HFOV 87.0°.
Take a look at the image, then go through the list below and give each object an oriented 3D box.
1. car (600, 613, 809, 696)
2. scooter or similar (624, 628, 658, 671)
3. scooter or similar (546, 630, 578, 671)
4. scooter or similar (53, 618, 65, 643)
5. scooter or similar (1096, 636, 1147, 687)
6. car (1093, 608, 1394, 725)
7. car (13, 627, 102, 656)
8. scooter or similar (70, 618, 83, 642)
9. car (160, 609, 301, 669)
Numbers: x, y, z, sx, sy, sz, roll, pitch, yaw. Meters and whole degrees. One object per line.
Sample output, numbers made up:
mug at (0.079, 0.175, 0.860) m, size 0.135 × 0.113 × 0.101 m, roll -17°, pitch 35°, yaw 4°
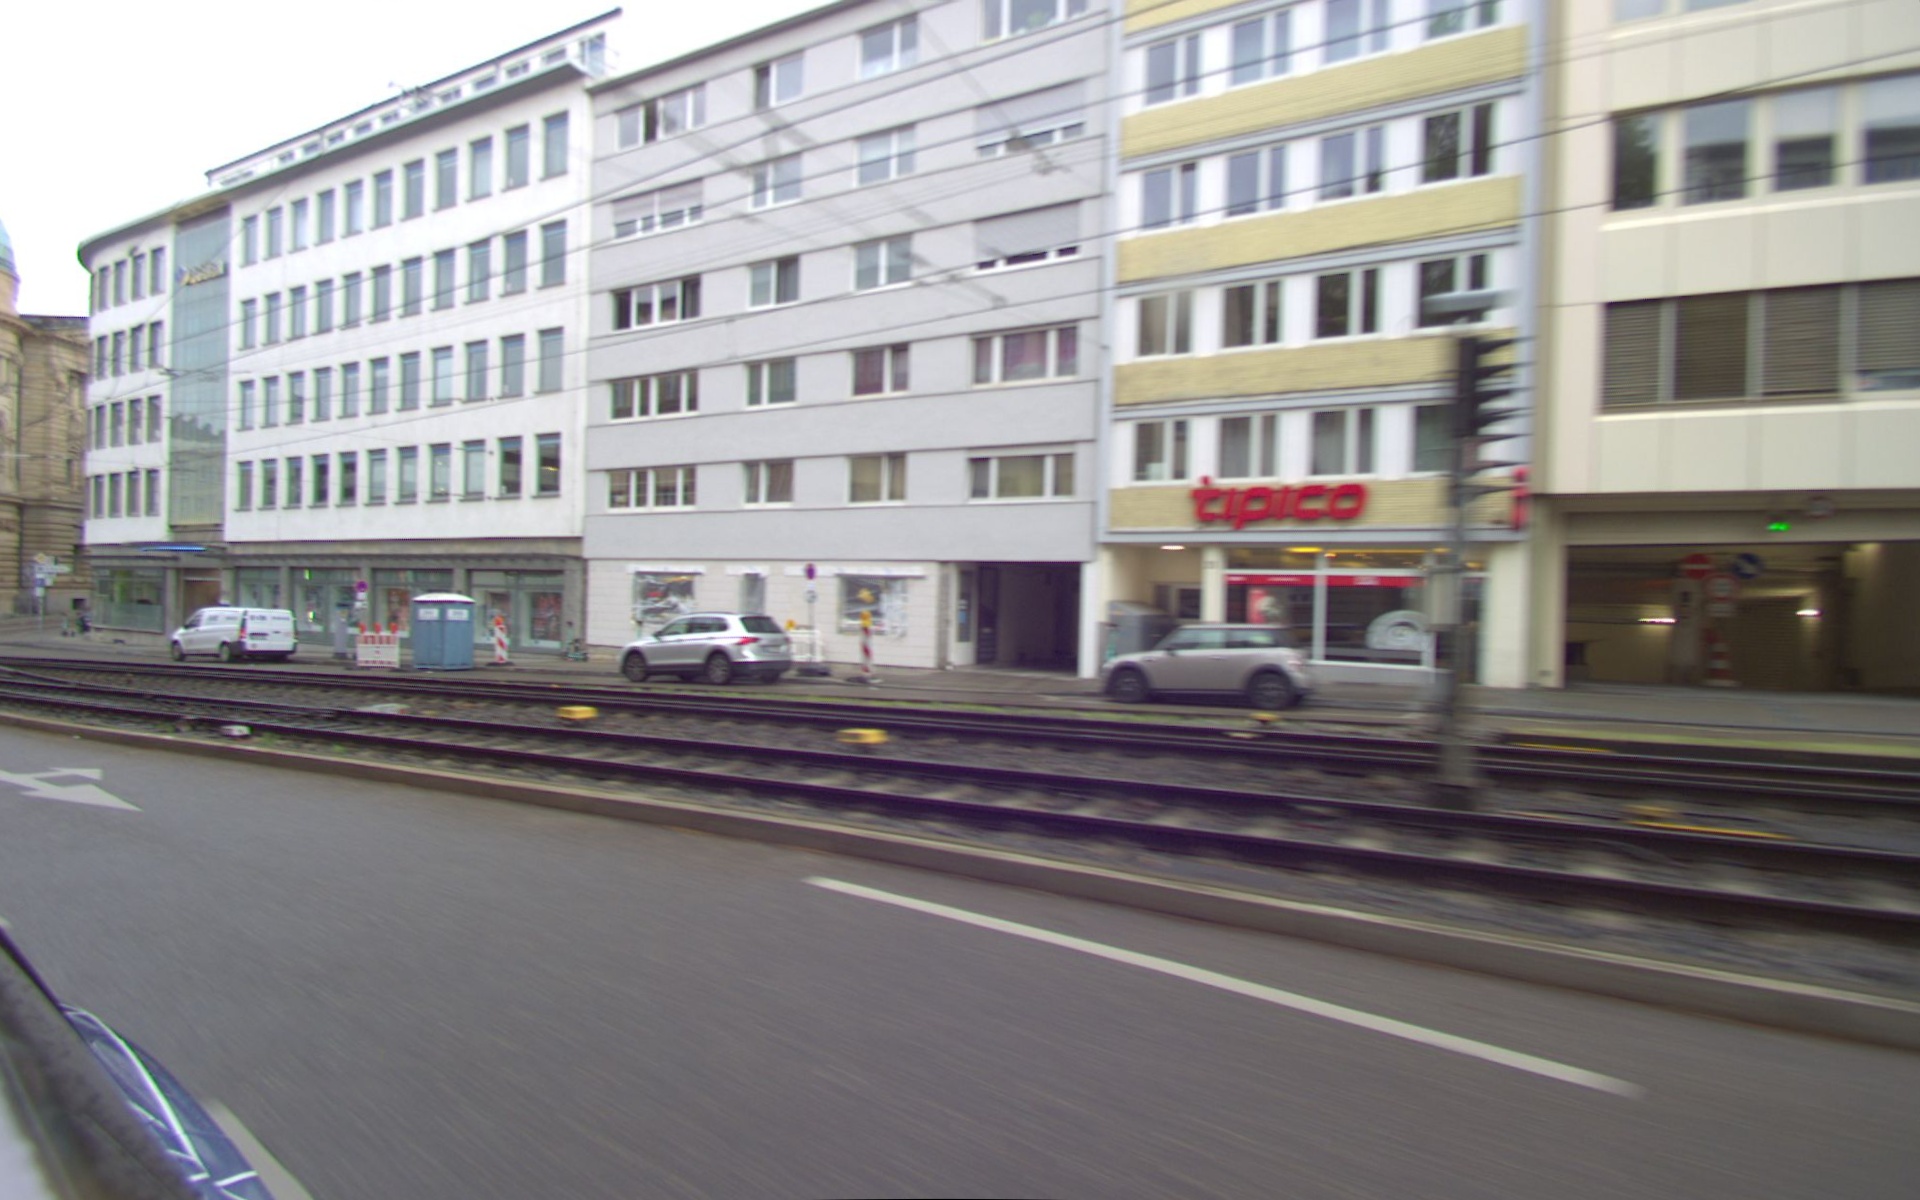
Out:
car at (-5.954, 1.229, 23.433) m, size 4.678 × 1.686 × 1.979 m, roll -2°, pitch 0°, yaw 31°
scooter or similar at (-9.342, 1.452, 29.641) m, size 0.970 × 1.212 × 0.378 m, roll 0°, pitch 1°, yaw 30°
scooter or similar at (-12.216, 1.537, 31.060) m, size 0.970 × 1.212 × 0.378 m, roll 0°, pitch 1°, yaw 30°
scooter or similar at (-46.997, 1.586, 52.811) m, size 0.405 × 1.209 × 1.561 m, roll -1°, pitch 1°, yaw -43°
scooter or similar at (3.518, 1.339, 22.013) m, size 0.970 × 1.040 × 0.378 m, roll -4°, pitch -1°, yaw 30°
car at (4.833, 1.023, 17.385) m, size 4.674 × 1.686 × 1.981 m, roll 0°, pitch 1°, yaw 29°
car at (-51.683, 2.336, 58.071) m, size 1.756 × 1.408 × 4.336 m, roll 0°, pitch 1°, yaw -9°
scooter or similar at (-46.582, 1.582, 53.370) m, size 0.404 × 1.209 × 1.564 m, roll -1°, pitch 1°, yaw -37°
car at (-25.340, 1.279, 35.113) m, size 5.109 × 1.856 × 1.981 m, roll 0°, pitch 1°, yaw 29°
